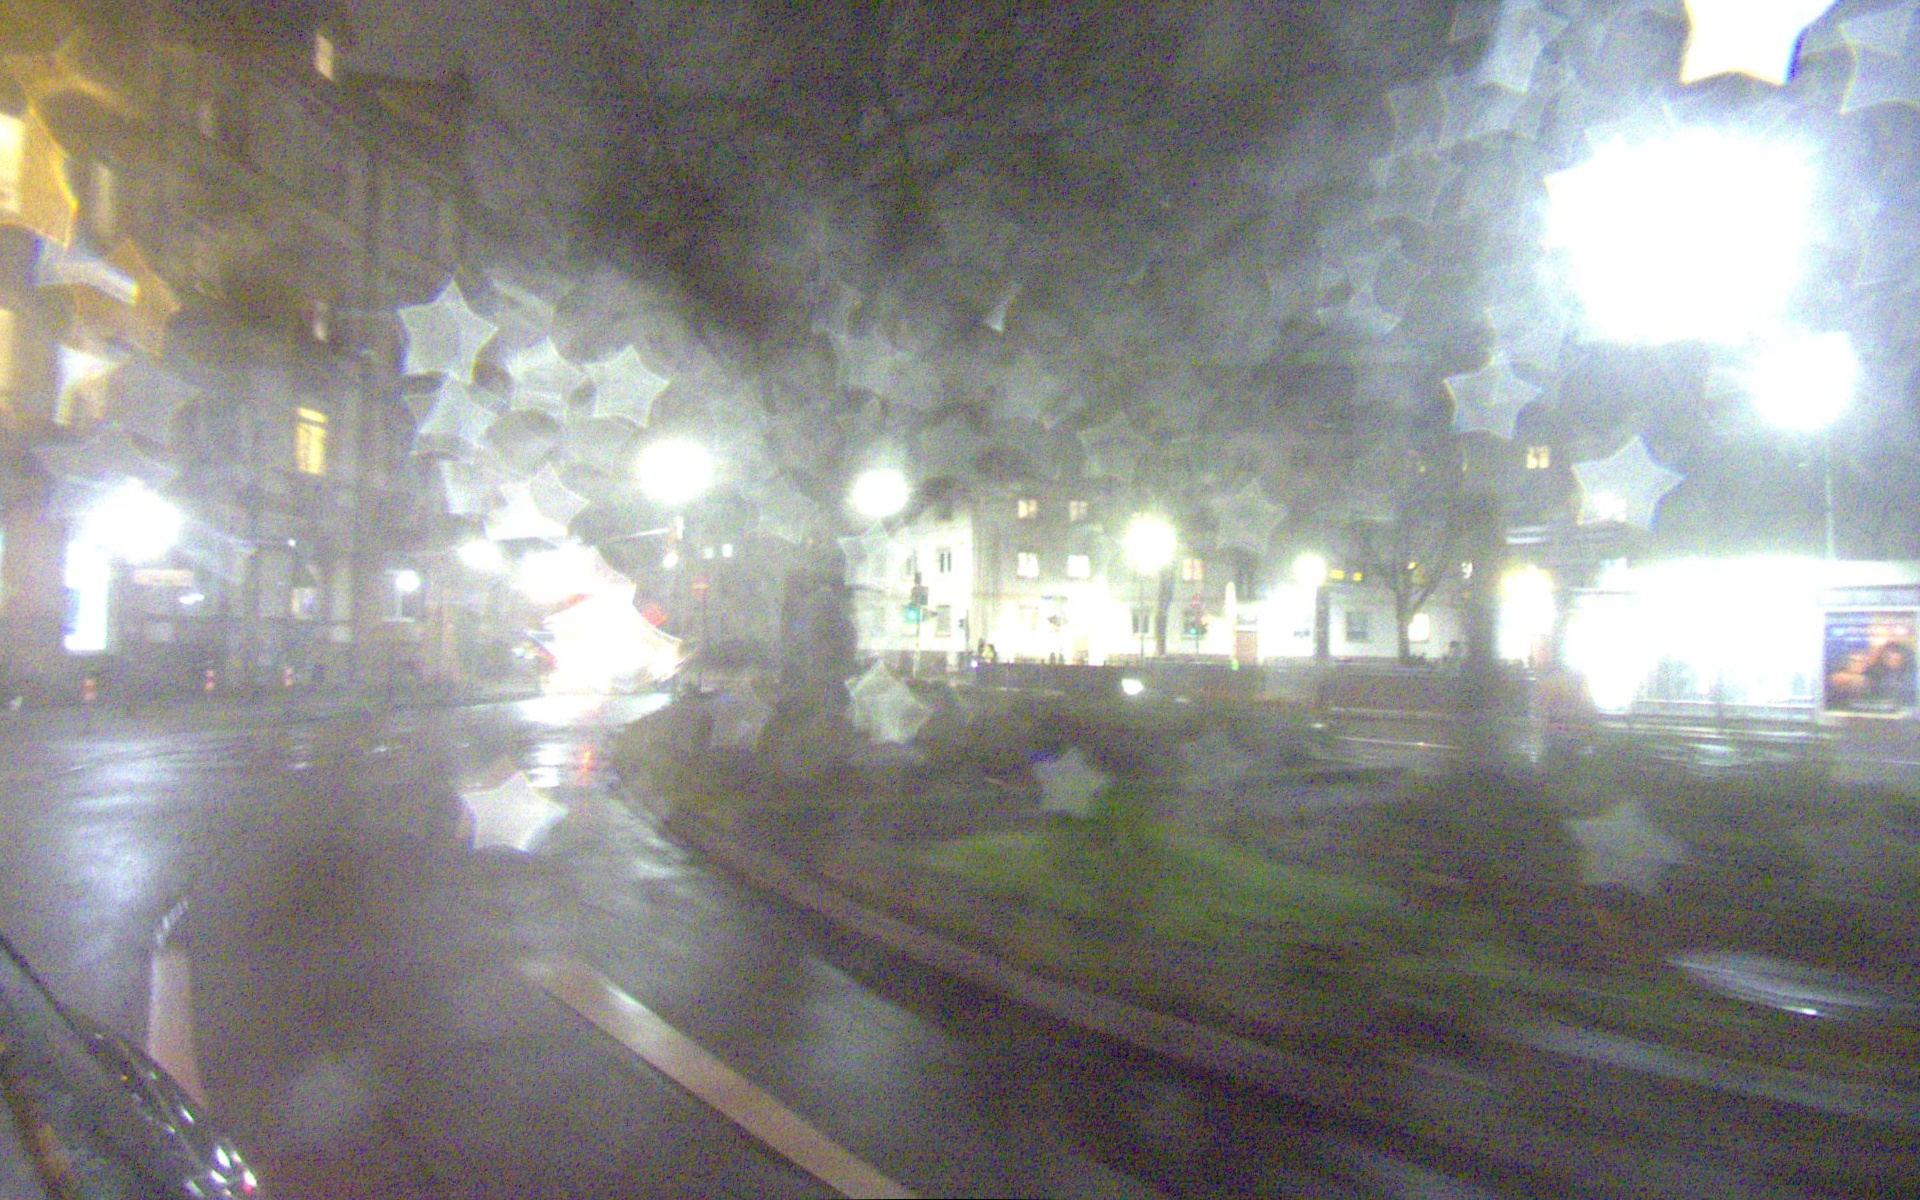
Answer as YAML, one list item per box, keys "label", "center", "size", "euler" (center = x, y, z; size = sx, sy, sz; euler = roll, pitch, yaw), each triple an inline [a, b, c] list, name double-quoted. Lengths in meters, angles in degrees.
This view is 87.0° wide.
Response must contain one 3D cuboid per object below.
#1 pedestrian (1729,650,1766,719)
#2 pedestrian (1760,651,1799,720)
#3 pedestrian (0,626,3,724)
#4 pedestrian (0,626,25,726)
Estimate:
- label: "pedestrian"
  center: [18.455, 1.967, 23.737]
  size: [0.572, 1.559, 0.507]
  euler: [-1, -1, 28]
- label: "pedestrian"
  center: [18.988, 1.968, 23.447]
  size: [0.583, 1.540, 0.475]
  euler: [-1, -1, 28]
- label: "pedestrian"
  center: [-16.822, 1.280, 17.153]
  size: [0.634, 1.650, 0.831]
  euler: [-1, -1, 43]
- label: "pedestrian"
  center: [-16.175, 1.266, 16.844]
  size: [0.634, 1.650, 0.862]
  euler: [-1, -1, 43]
